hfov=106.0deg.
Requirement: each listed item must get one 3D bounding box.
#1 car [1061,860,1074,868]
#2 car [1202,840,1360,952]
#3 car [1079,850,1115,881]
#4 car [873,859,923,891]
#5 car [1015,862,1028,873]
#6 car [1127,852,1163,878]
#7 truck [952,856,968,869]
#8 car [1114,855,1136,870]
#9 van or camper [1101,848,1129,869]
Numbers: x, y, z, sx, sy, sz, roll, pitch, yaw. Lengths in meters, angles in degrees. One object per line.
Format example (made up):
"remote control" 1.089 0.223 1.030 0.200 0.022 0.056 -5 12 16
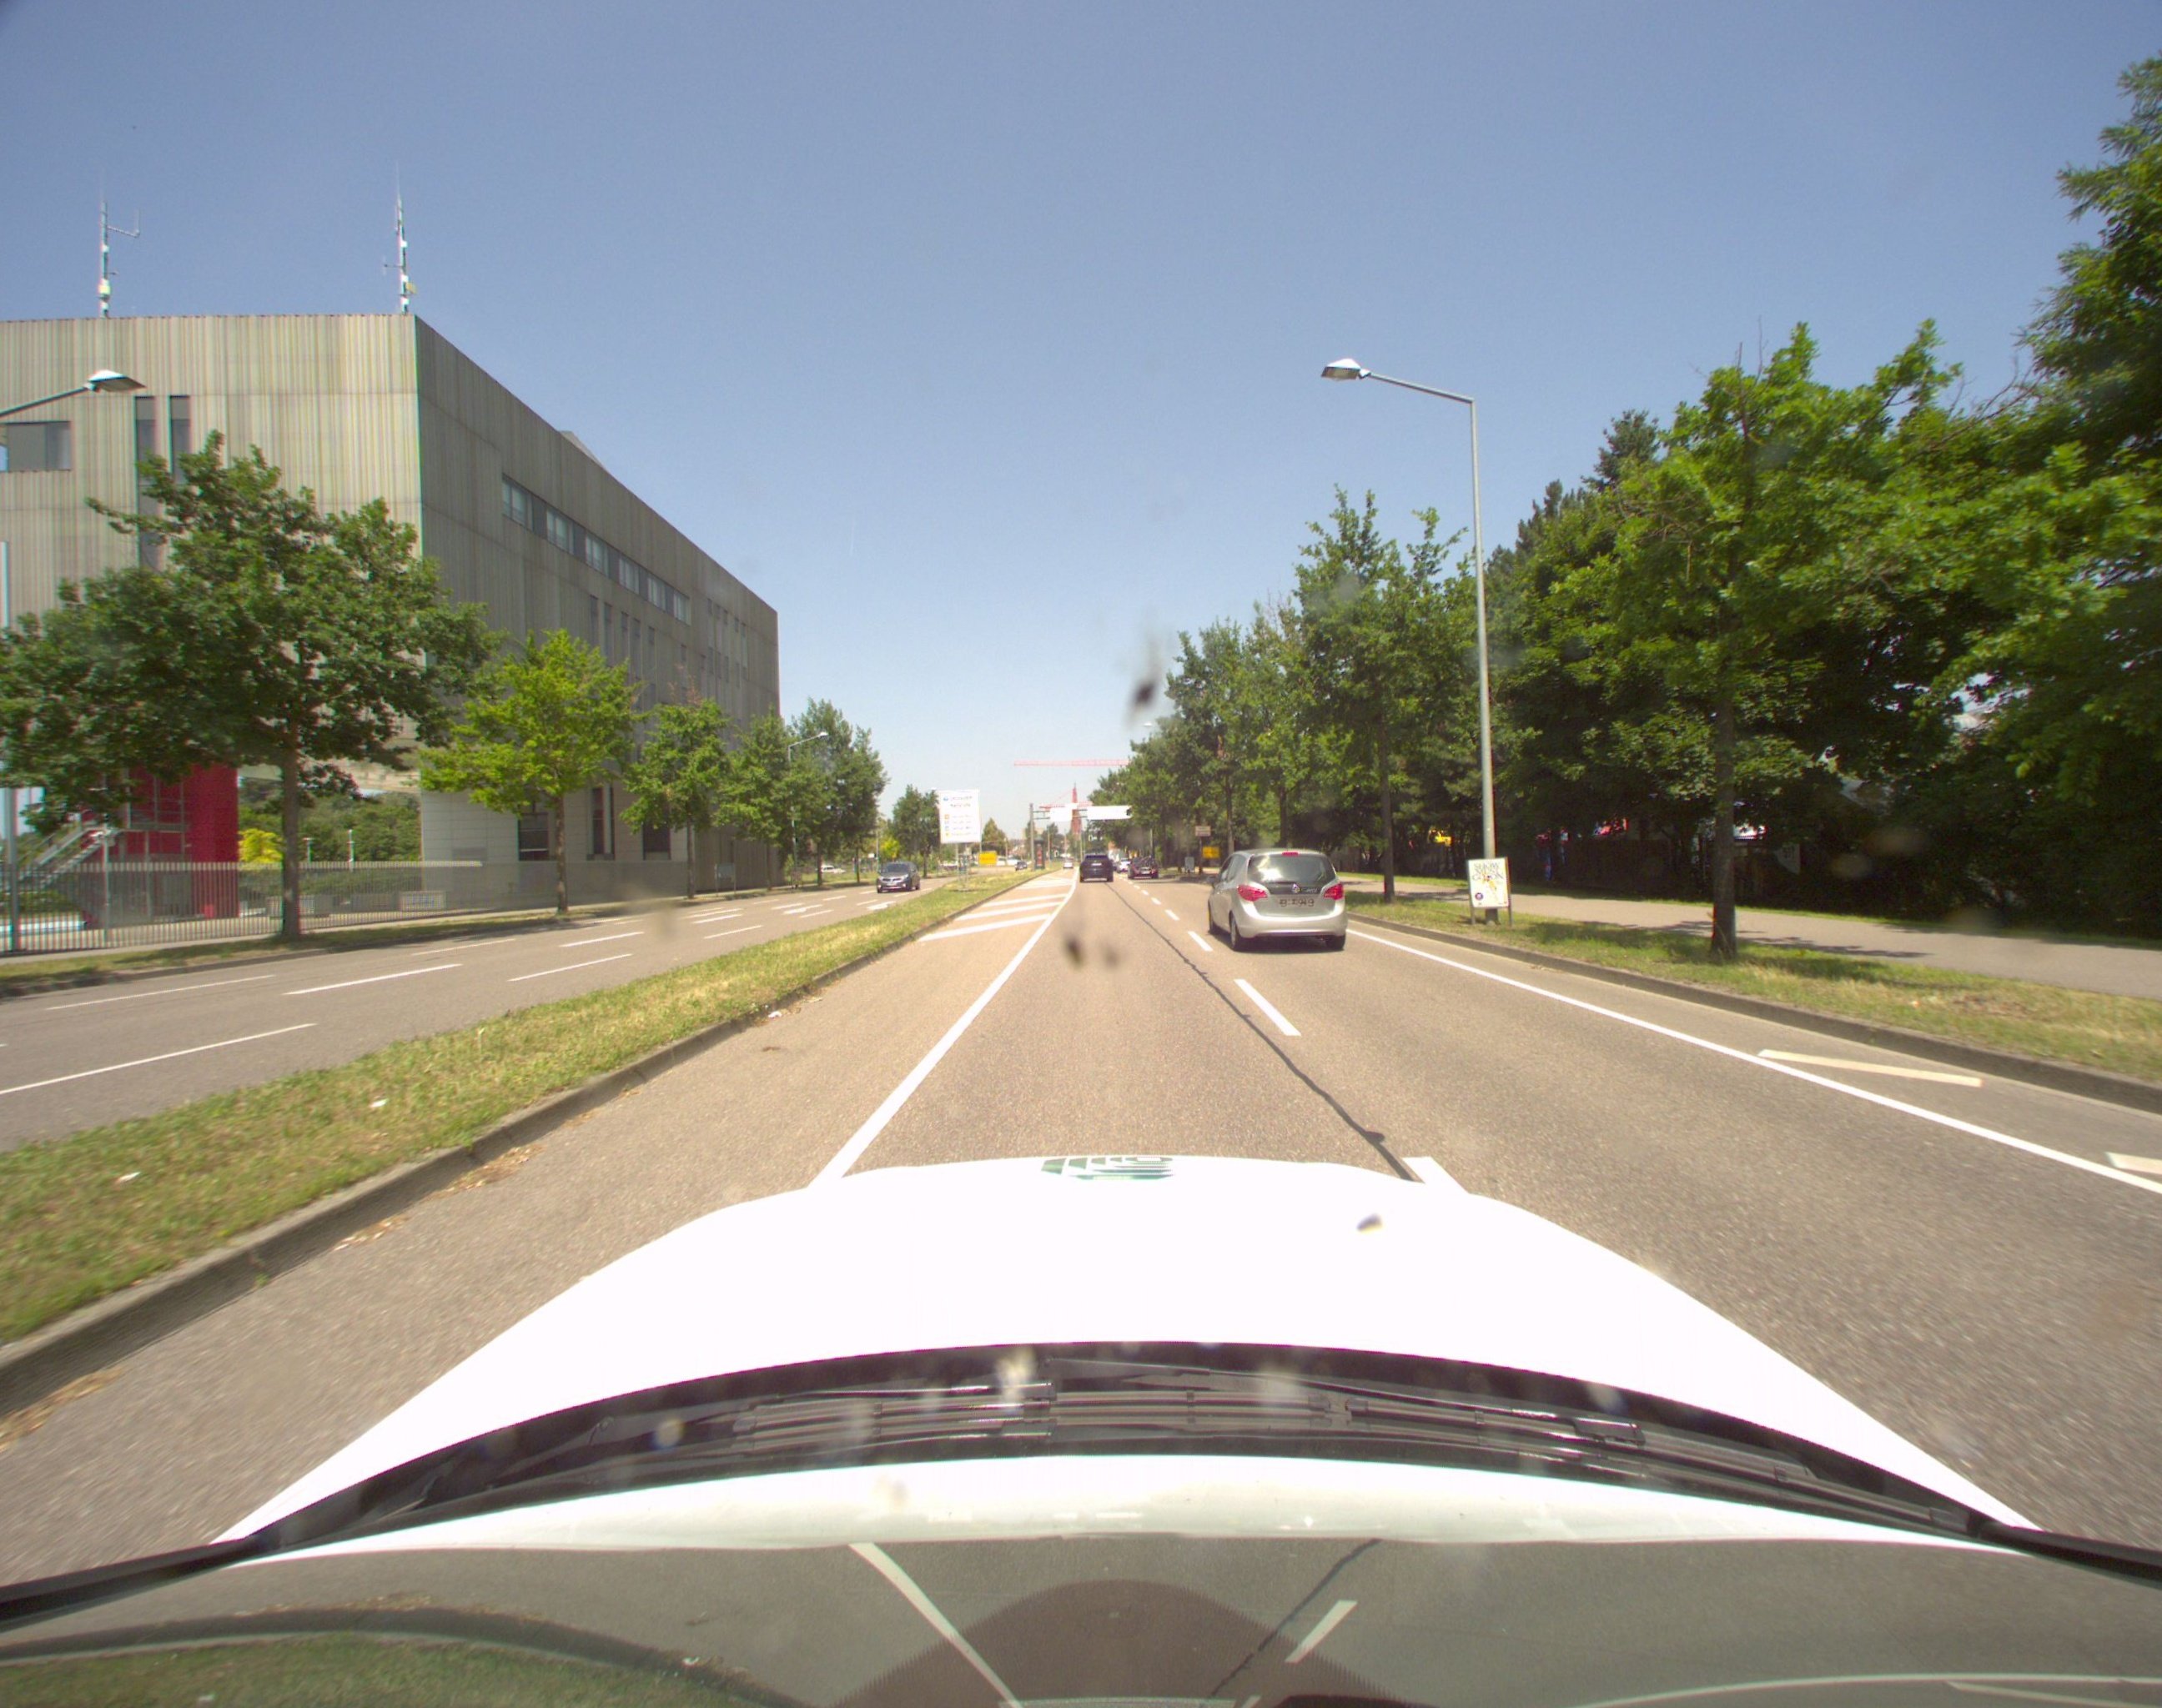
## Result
"car" -2.393 1.769 140.757 1.990 1.321 3.994 -2 0 -4
"car" 3.221 0.609 13.881 1.786 1.612 3.891 -1 0 1
"car" 0.935 0.642 47.242 1.991 1.689 4.034 -1 0 1
"car" -9.270 1.027 41.527 1.703 1.471 3.938 -3 0 -2
"car" -10.049 2.282 137.902 1.888 1.610 4.530 -2 0 -2
"car" 4.014 0.707 51.839 2.007 1.517 4.462 -2 0 2
"truck" -25.435 1.753 171.022 2.632 2.576 6.313 -2 0 -2
"car" 4.317 0.844 80.867 1.651 1.356 4.455 -2 0 -3
"van or camper" 3.897 0.541 95.129 2.490 2.291 4.910 -2 0 -6
